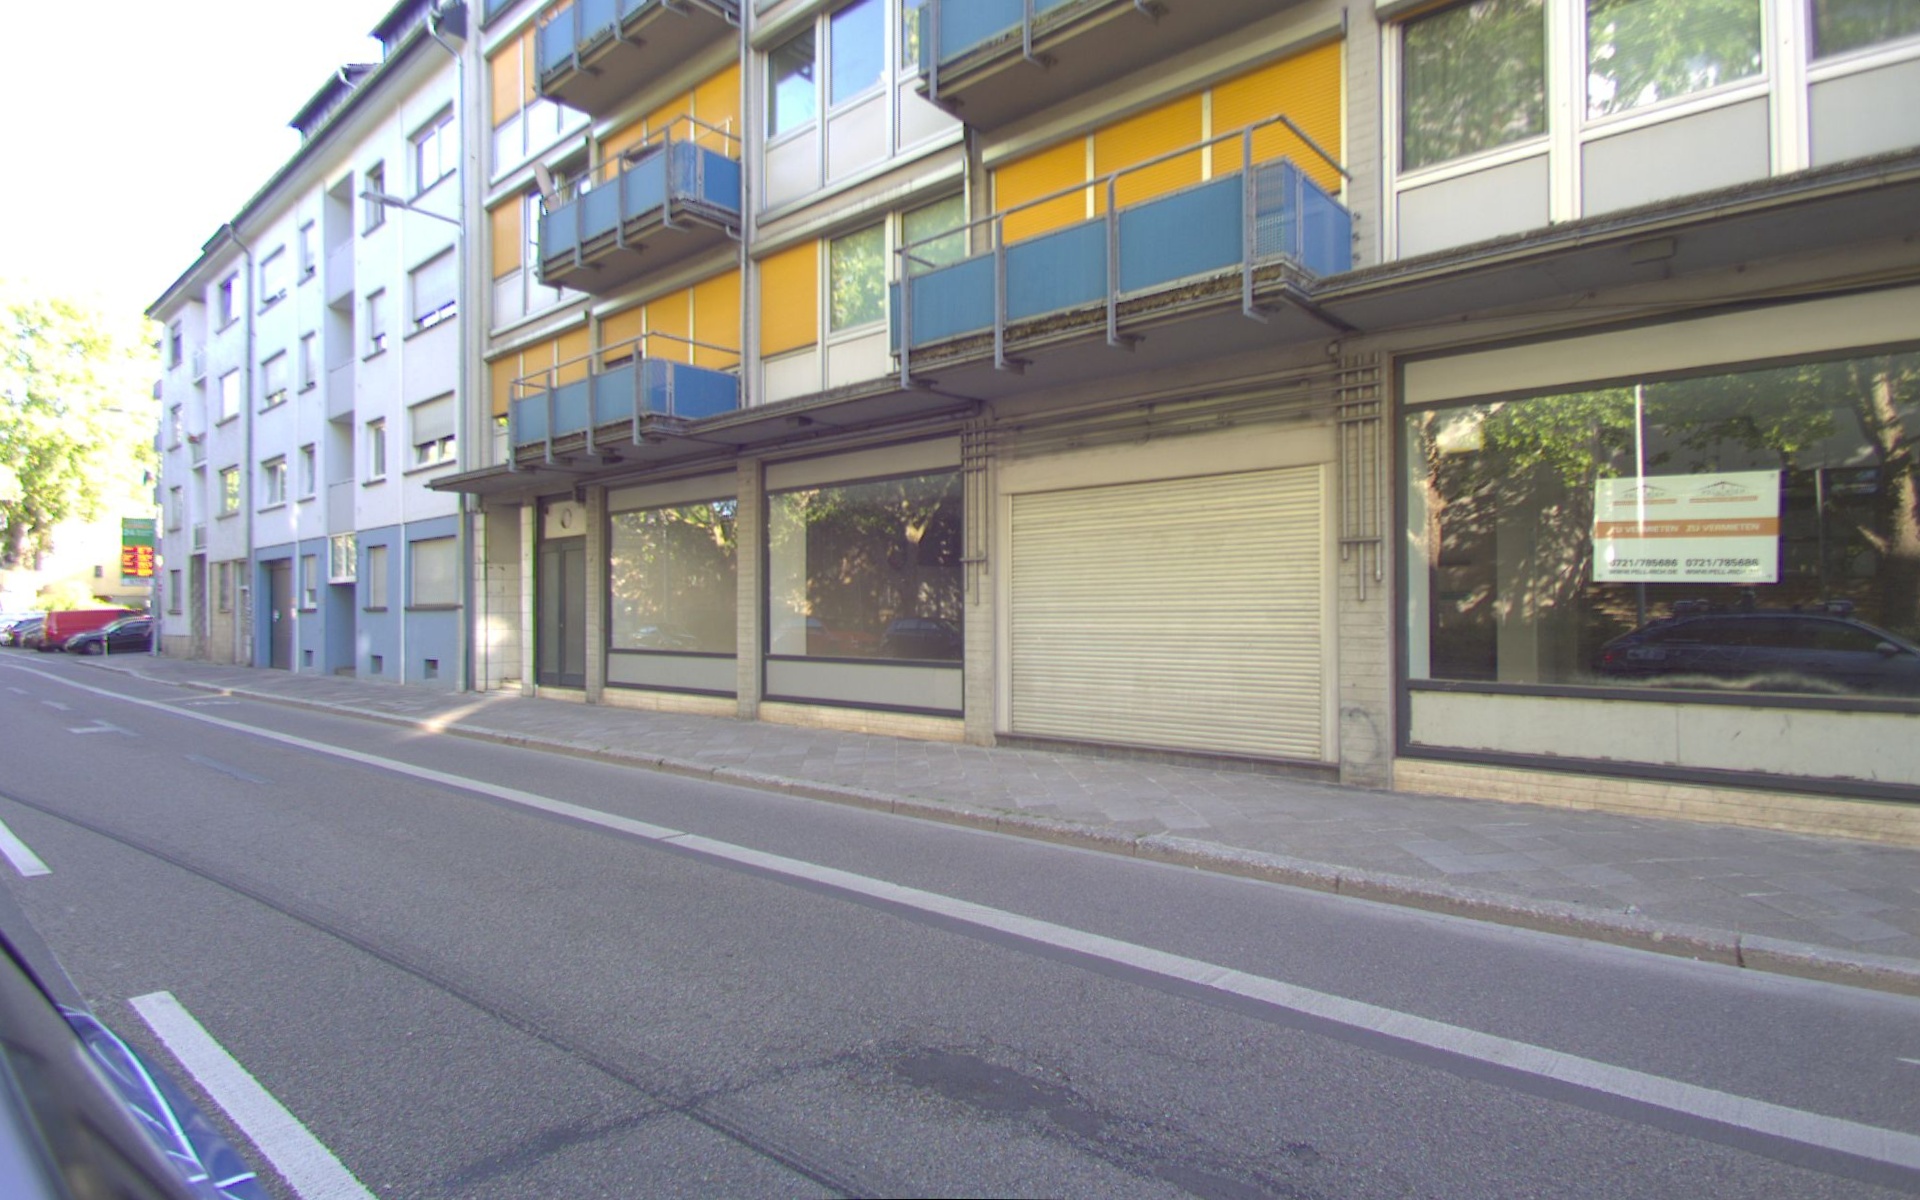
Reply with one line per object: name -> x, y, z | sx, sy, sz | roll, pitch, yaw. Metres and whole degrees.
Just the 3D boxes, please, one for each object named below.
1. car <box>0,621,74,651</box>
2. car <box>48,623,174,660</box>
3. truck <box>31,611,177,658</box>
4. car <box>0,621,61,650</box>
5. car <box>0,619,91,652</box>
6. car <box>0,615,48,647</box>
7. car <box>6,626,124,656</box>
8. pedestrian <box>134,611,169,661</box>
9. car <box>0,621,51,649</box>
car -> -52.882, 2.026, 57.466 | 1.656, 1.599, 3.615 | -1, 0, 35
car -> -36.759, 1.753, 43.883 | 1.780, 1.404, 3.947 | -1, 0, 39
truck -> -40.349, 1.572, 47.830 | 1.998, 2.036, 5.024 | -1, 0, 40
car -> -55.066, 2.070, 58.995 | 1.715, 1.594, 3.660 | -1, 0, 35
car -> -50.822, 1.935, 55.962 | 1.699, 1.640, 3.952 | -1, 0, 35
car -> -59.758, 1.956, 63.828 | 1.693, 1.953, 3.224 | -1, 0, 43
car -> -43.089, 1.943, 48.781 | 1.904, 1.282, 3.983 | -1, 0, 39
pedestrian -> -29.954, 1.318, 37.474 | 0.741, 1.785, 0.884 | -1, 0, 41
car -> -56.886, 2.111, 60.387 | 1.740, 1.600, 3.685 | -1, 0, 35
